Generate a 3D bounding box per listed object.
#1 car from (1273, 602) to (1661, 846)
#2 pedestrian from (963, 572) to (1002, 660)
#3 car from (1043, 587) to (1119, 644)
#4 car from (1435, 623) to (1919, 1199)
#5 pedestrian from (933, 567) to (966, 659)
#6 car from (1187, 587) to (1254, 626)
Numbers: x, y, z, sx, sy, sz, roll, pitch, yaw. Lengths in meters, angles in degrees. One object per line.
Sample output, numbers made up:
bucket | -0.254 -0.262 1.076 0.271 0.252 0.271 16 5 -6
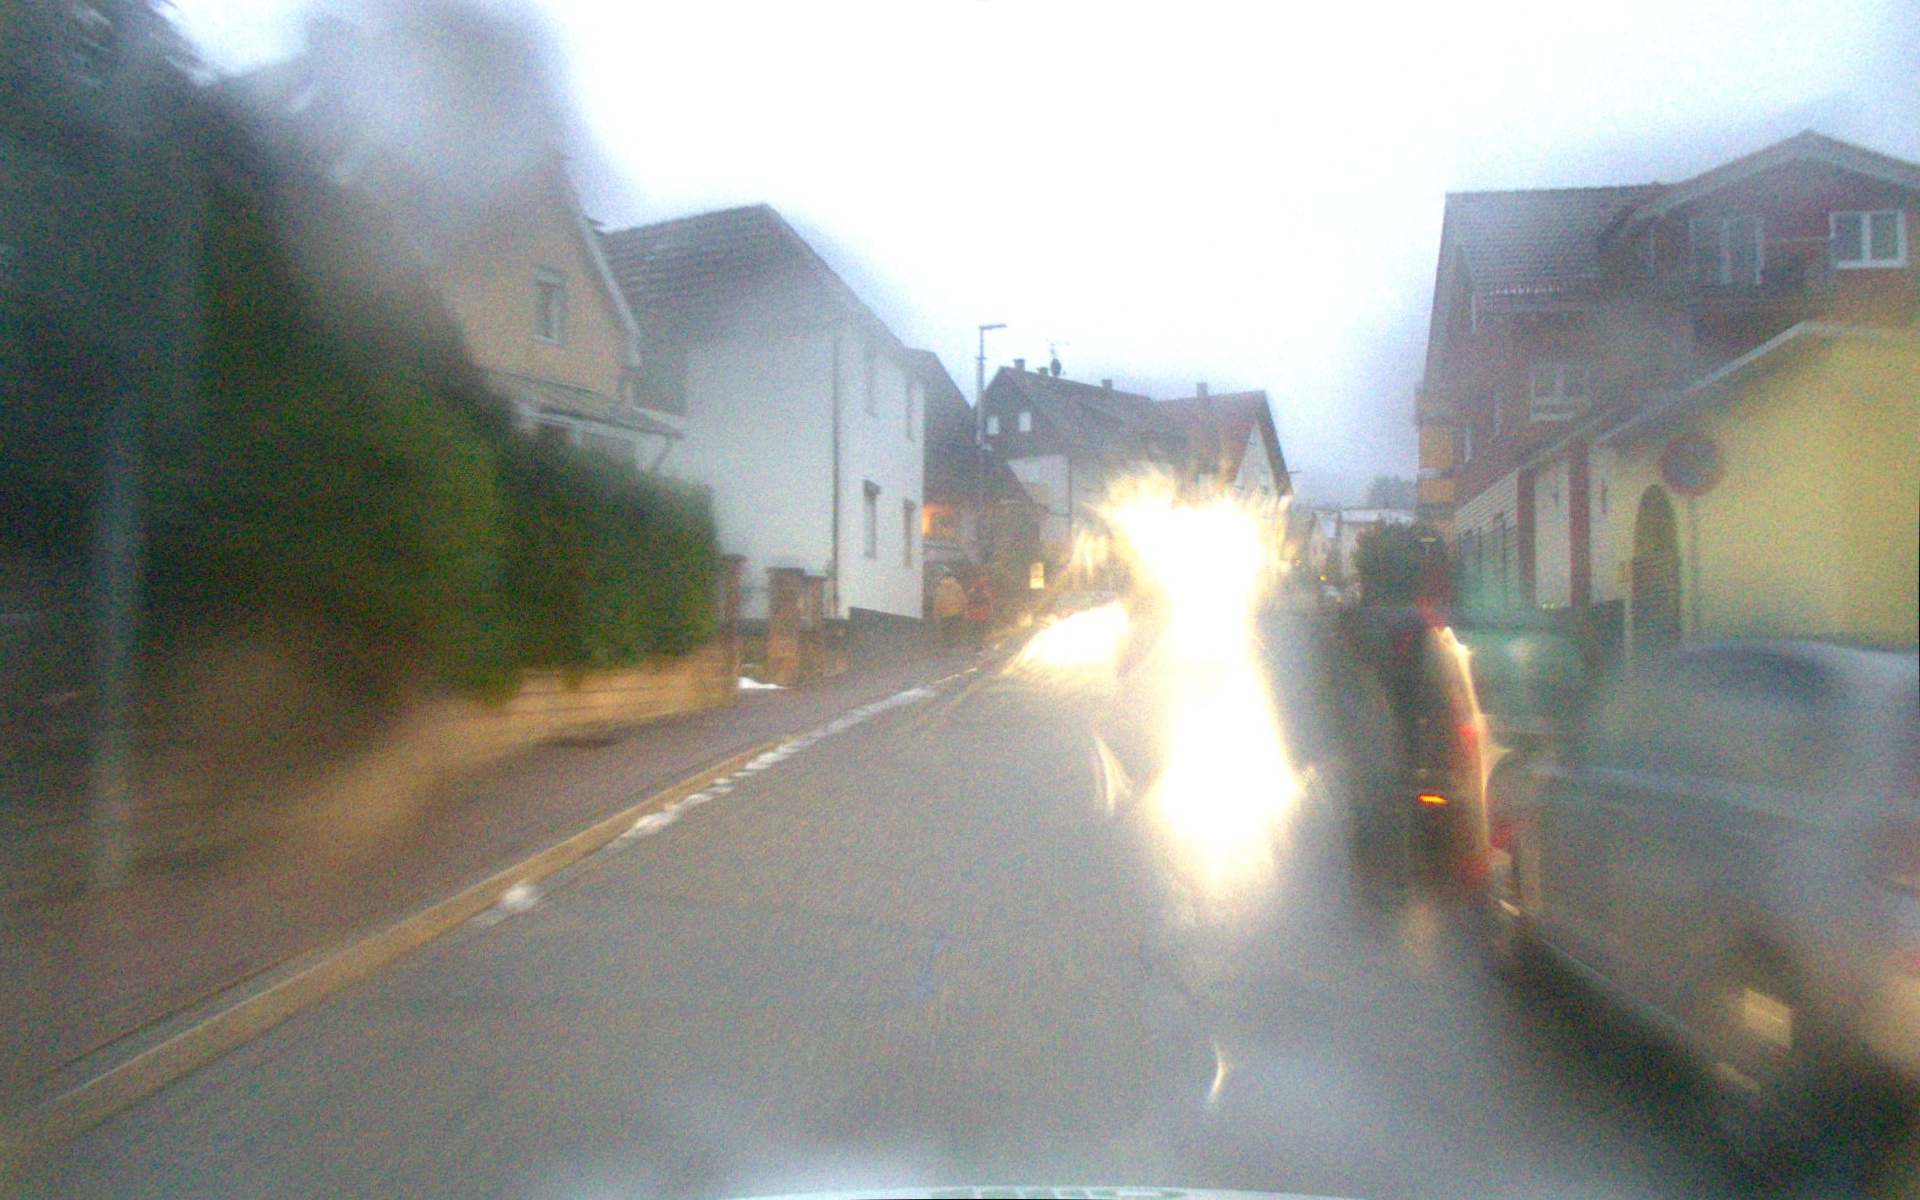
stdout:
car | 3.486 0.757 12.305 1.690 1.457 4.800 -1 0 4
pedestrian | 0.480 0.337 34.619 0.691 1.810 0.813 -1 -1 9
car | 3.371 0.401 45.516 1.784 1.466 4.071 -1 1 8
car | 3.030 0.842 5.734 1.752 1.465 4.625 -1 0 4
pedestrian | -0.215 0.267 34.731 0.585 1.902 0.813 -1 -1 8
car | 11.364 0.278 71.991 1.723 1.608 3.996 -1 0 26
